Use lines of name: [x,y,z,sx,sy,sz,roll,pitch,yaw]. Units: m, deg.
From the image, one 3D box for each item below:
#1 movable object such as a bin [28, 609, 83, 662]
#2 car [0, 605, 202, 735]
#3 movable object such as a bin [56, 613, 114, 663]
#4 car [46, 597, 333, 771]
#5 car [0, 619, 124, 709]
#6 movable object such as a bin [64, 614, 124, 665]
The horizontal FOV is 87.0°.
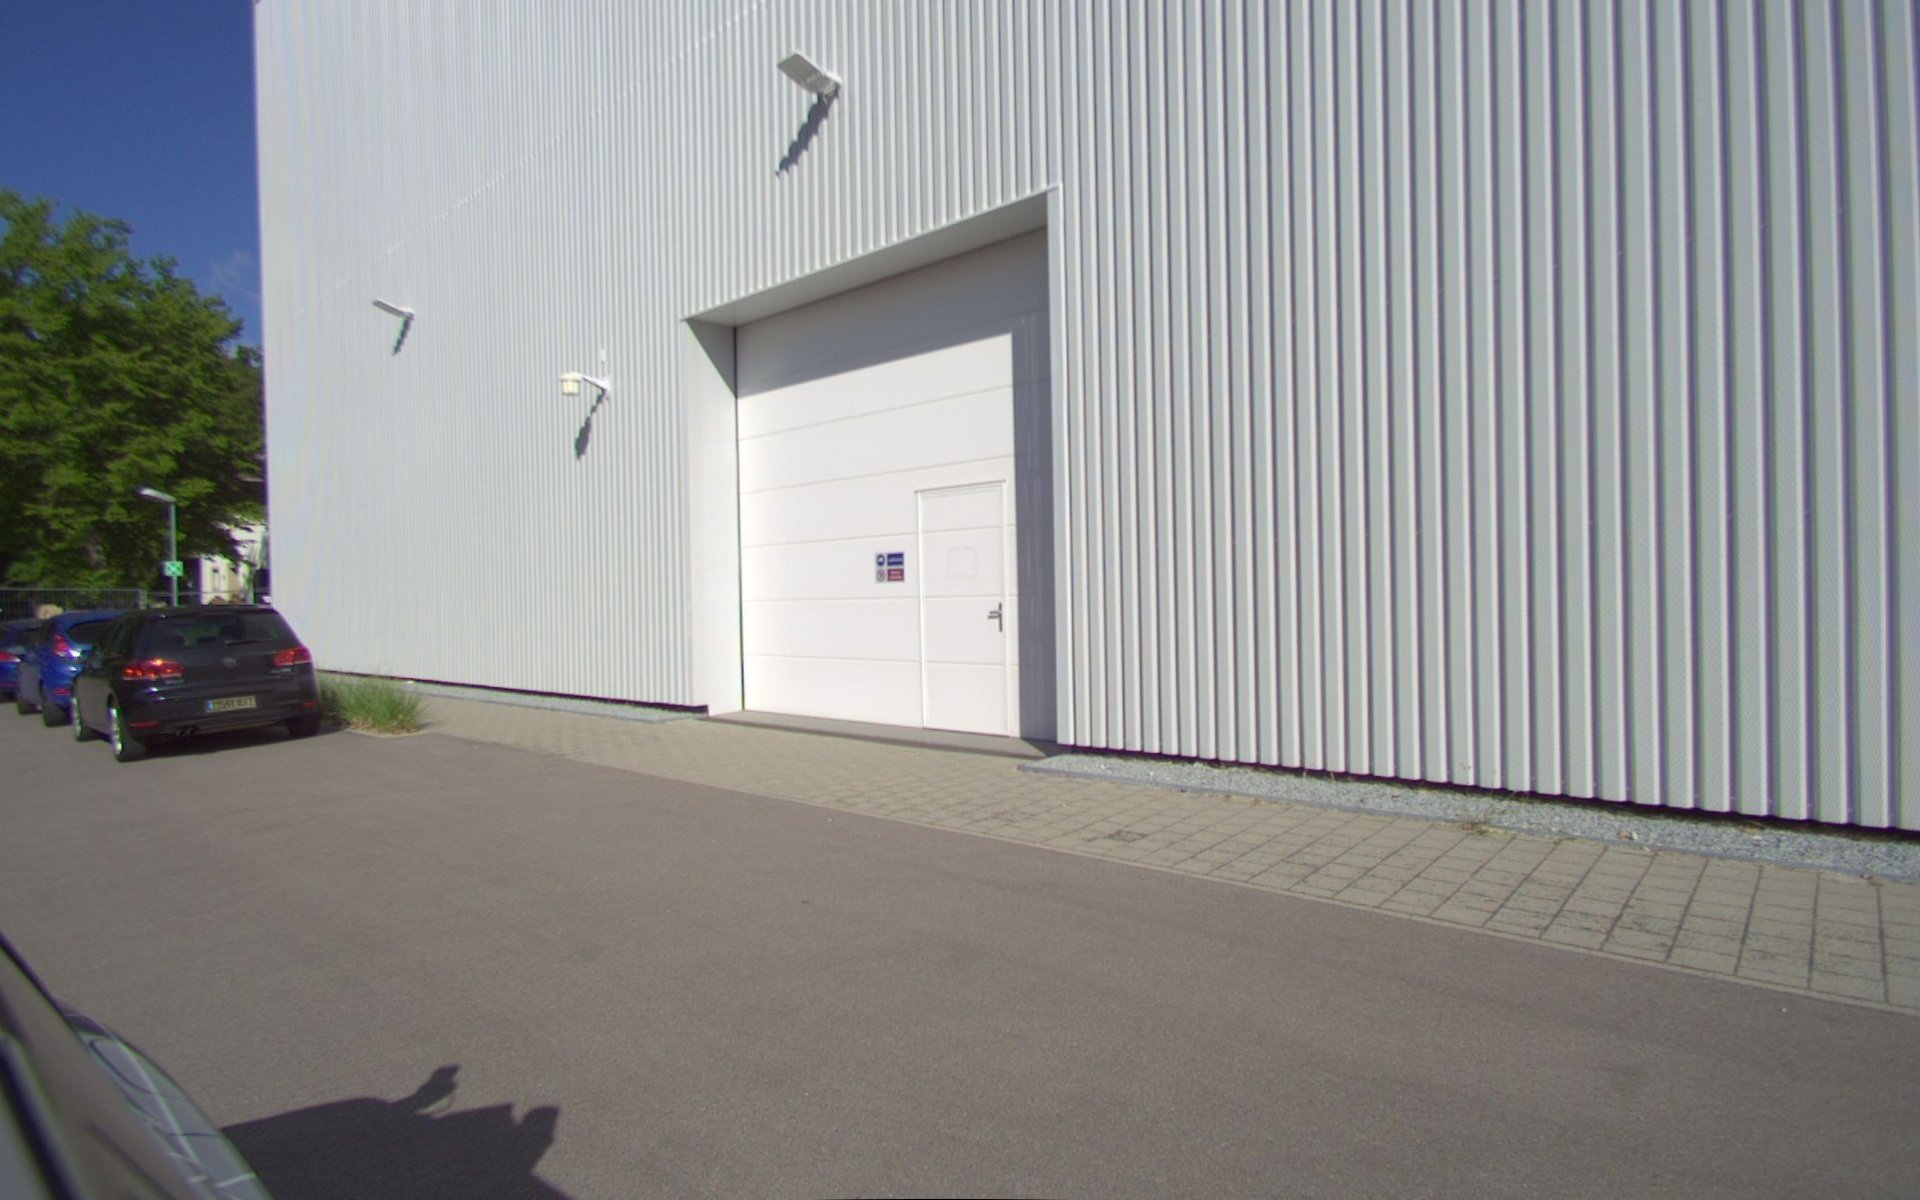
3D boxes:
movable object such as a bin: [-28.892,1.109,32.328,1.228,1.609,1.080,1,2,36]
car: [-12.412,0.907,14.463,4.092,1.511,1.614,-1,2,41]
movable object such as a bin: [-27.165,1.162,31.421,1.228,1.450,1.080,0,2,36]
car: [-8.698,0.796,11.278,4.293,1.511,1.736,-1,2,42]
car: [-16.436,1.070,17.999,4.051,1.371,1.756,-1,1,41]
movable object such as a bin: [-26.144,1.175,30.564,1.228,1.443,1.080,0,2,36]
